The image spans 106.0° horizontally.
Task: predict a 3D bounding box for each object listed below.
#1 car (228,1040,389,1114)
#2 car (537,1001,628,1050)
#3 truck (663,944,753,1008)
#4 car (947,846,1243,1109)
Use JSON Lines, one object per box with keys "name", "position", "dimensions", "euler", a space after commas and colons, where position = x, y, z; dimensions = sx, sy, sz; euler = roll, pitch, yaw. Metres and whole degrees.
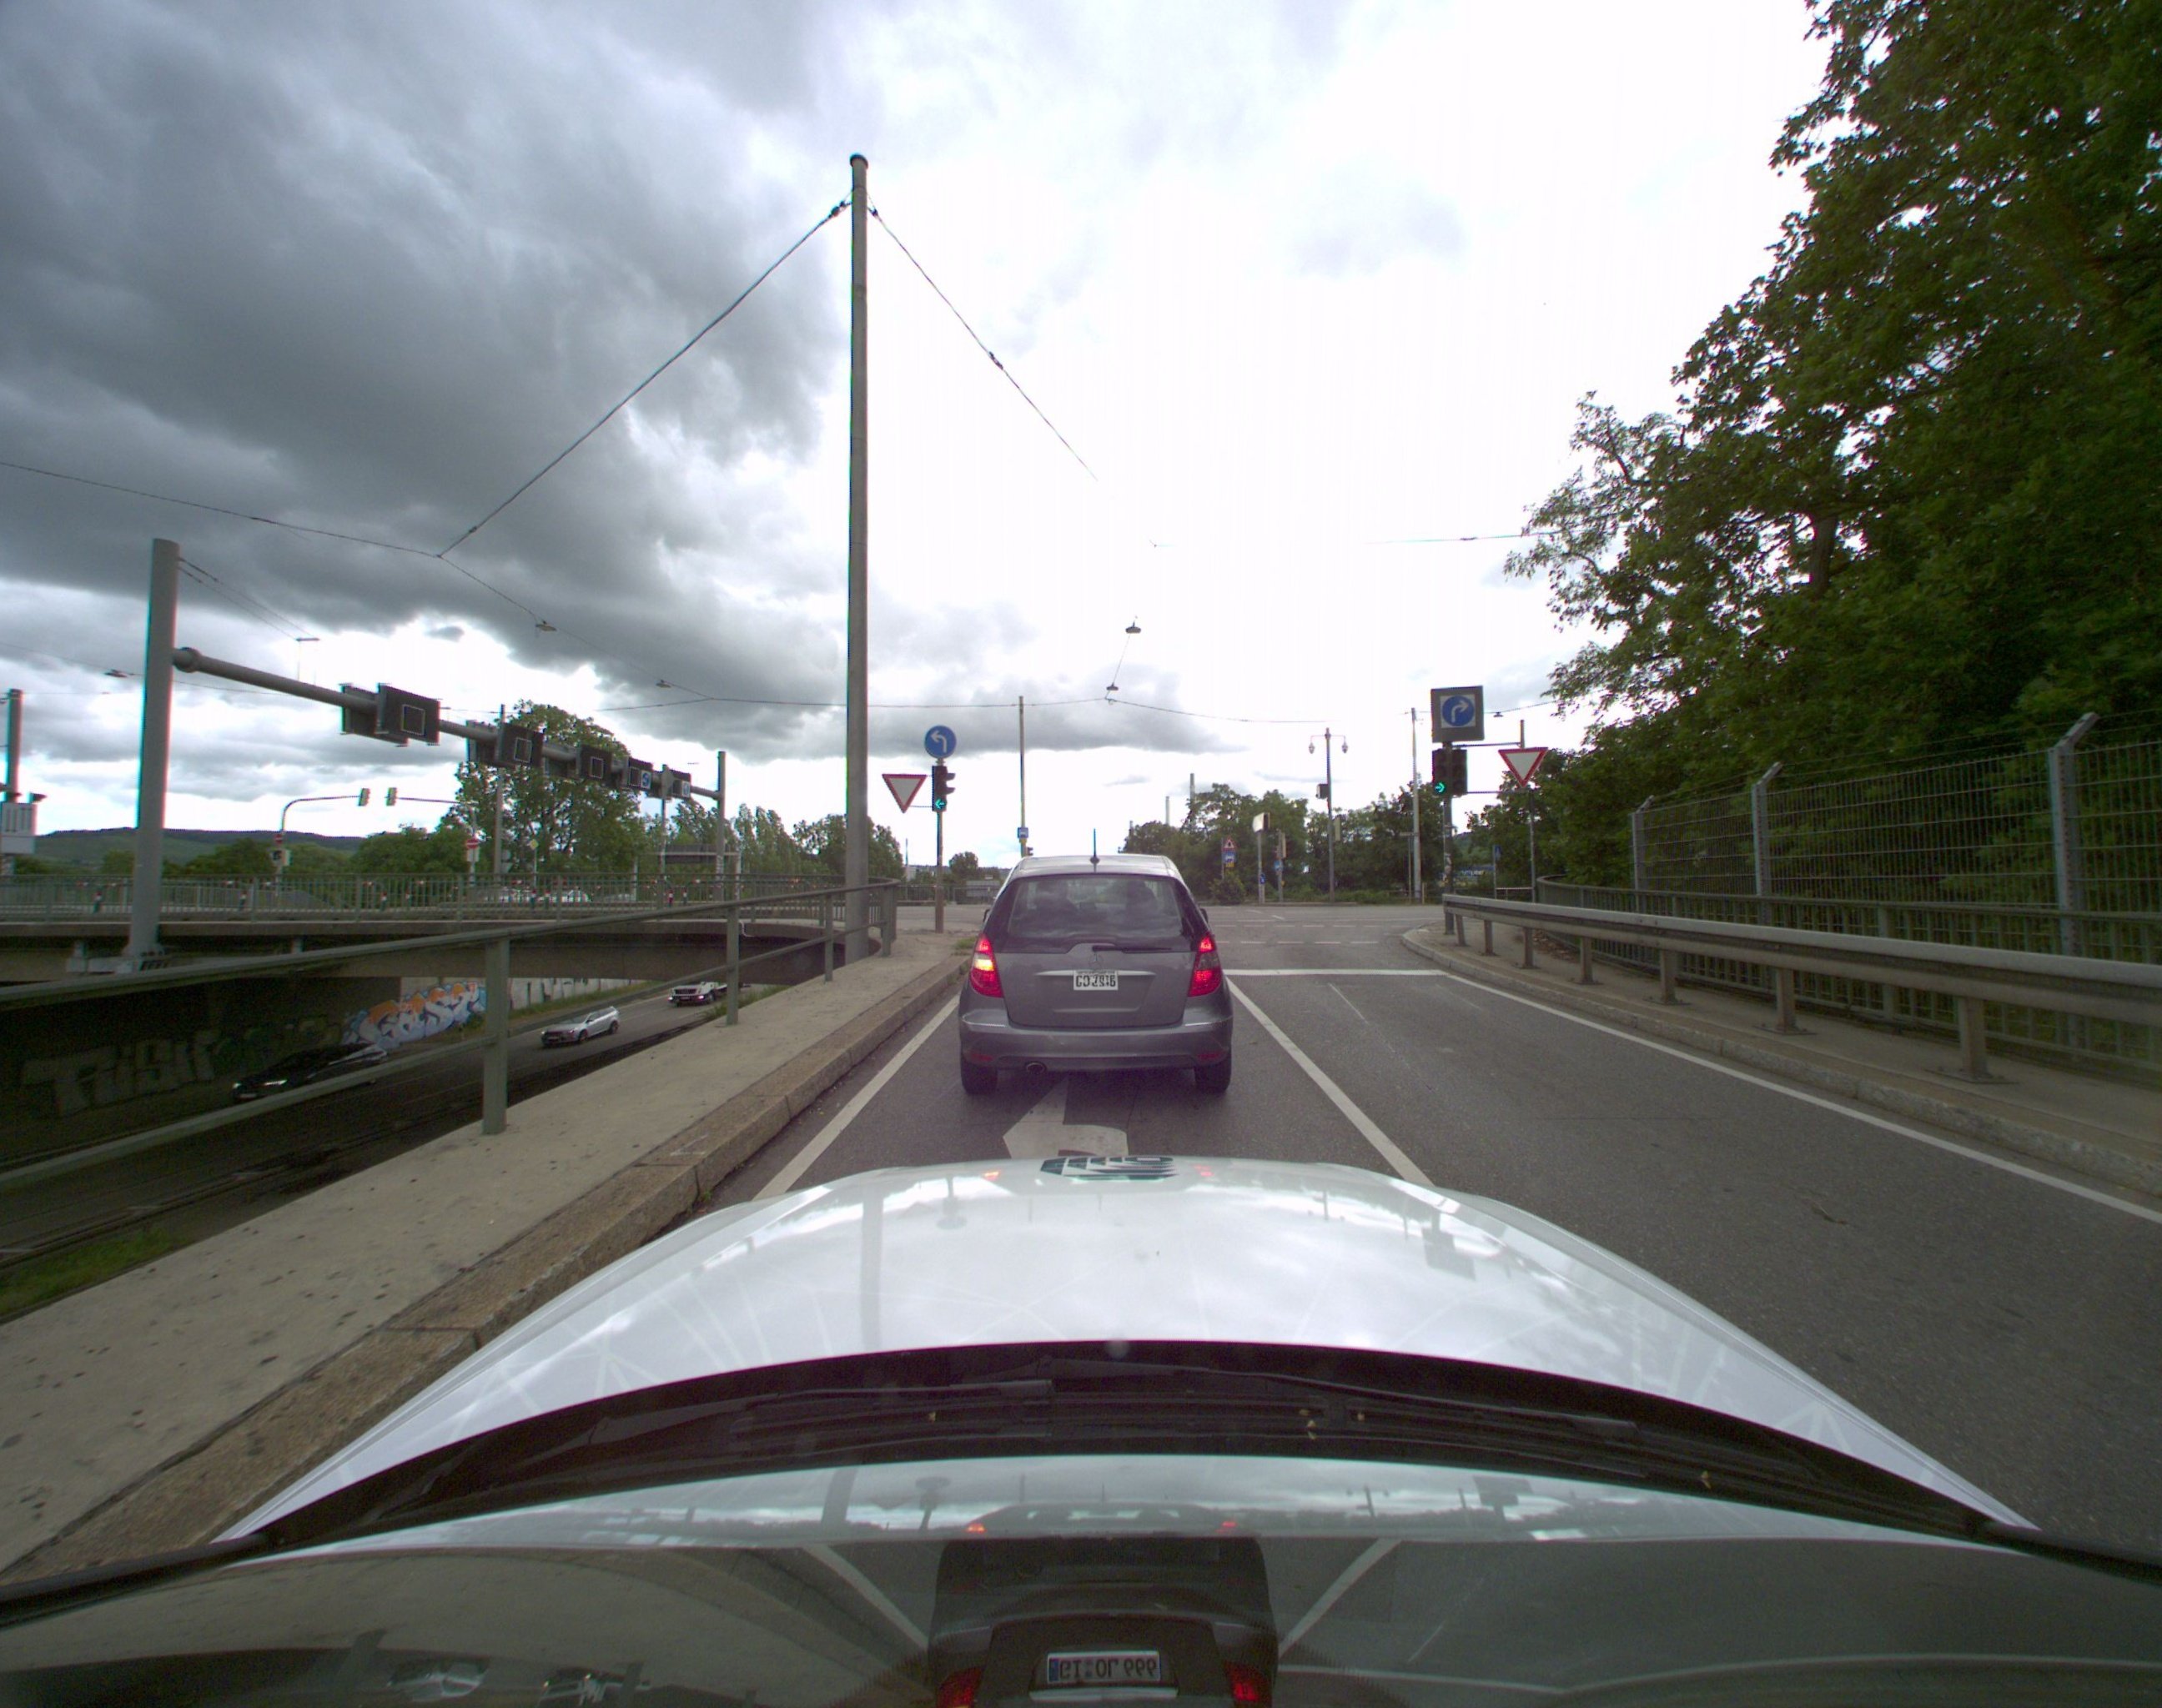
{"name": "car", "position": [-28.077, 8.070, 29.829], "dimensions": [1.705, 1.670, 4.256], "euler": [-2, -3, 2]}
{"name": "car", "position": [-24.699, 8.468, 40.545], "dimensions": [1.675, 1.611, 4.492], "euler": [-2, -3, 0]}
{"name": "truck", "position": [-25.145, 8.132, 55.455], "dimensions": [2.506, 3.462, 8.123], "euler": [-2, -3, -1]}
{"name": "car", "position": [0.143, 0.742, 6.570], "dimensions": [1.733, 1.543, 3.542], "euler": [0, -1, 2]}
